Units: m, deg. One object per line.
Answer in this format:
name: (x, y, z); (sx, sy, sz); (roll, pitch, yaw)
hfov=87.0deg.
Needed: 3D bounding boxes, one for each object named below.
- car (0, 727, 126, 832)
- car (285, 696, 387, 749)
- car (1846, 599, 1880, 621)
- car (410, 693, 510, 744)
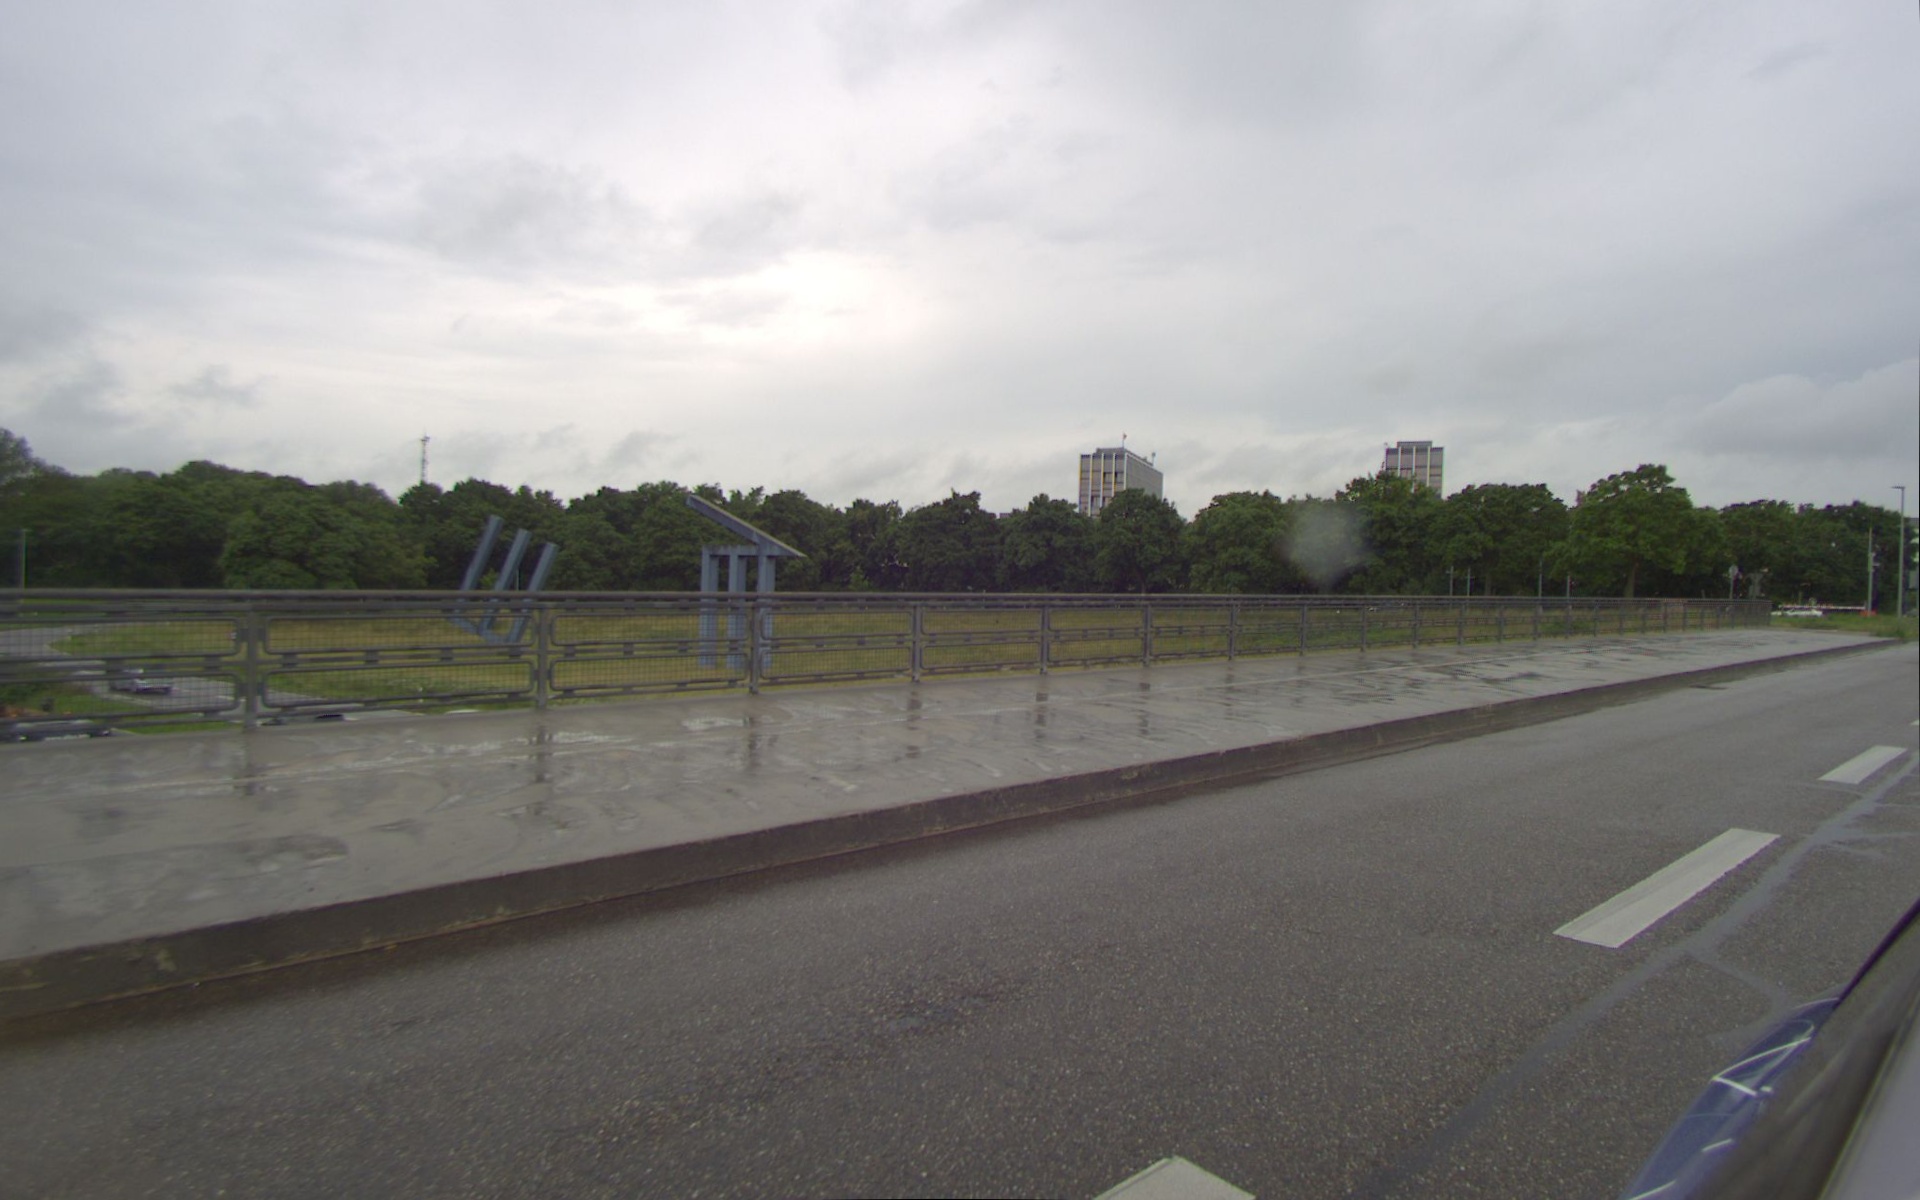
car: (-25.629, 4.815, 27.892); (5.571, 1.990, 2.274); (1, 0, 30)
car: (-26.069, 5.067, 42.294); (3.965, 1.750, 1.979); (0, 0, 29)
car: (78.899, 0.857, 88.401); (3.932, 1.772, 1.838); (0, 0, -43)
car: (-21.528, 5.049, 43.572); (3.965, 1.750, 1.979); (0, 0, 29)
